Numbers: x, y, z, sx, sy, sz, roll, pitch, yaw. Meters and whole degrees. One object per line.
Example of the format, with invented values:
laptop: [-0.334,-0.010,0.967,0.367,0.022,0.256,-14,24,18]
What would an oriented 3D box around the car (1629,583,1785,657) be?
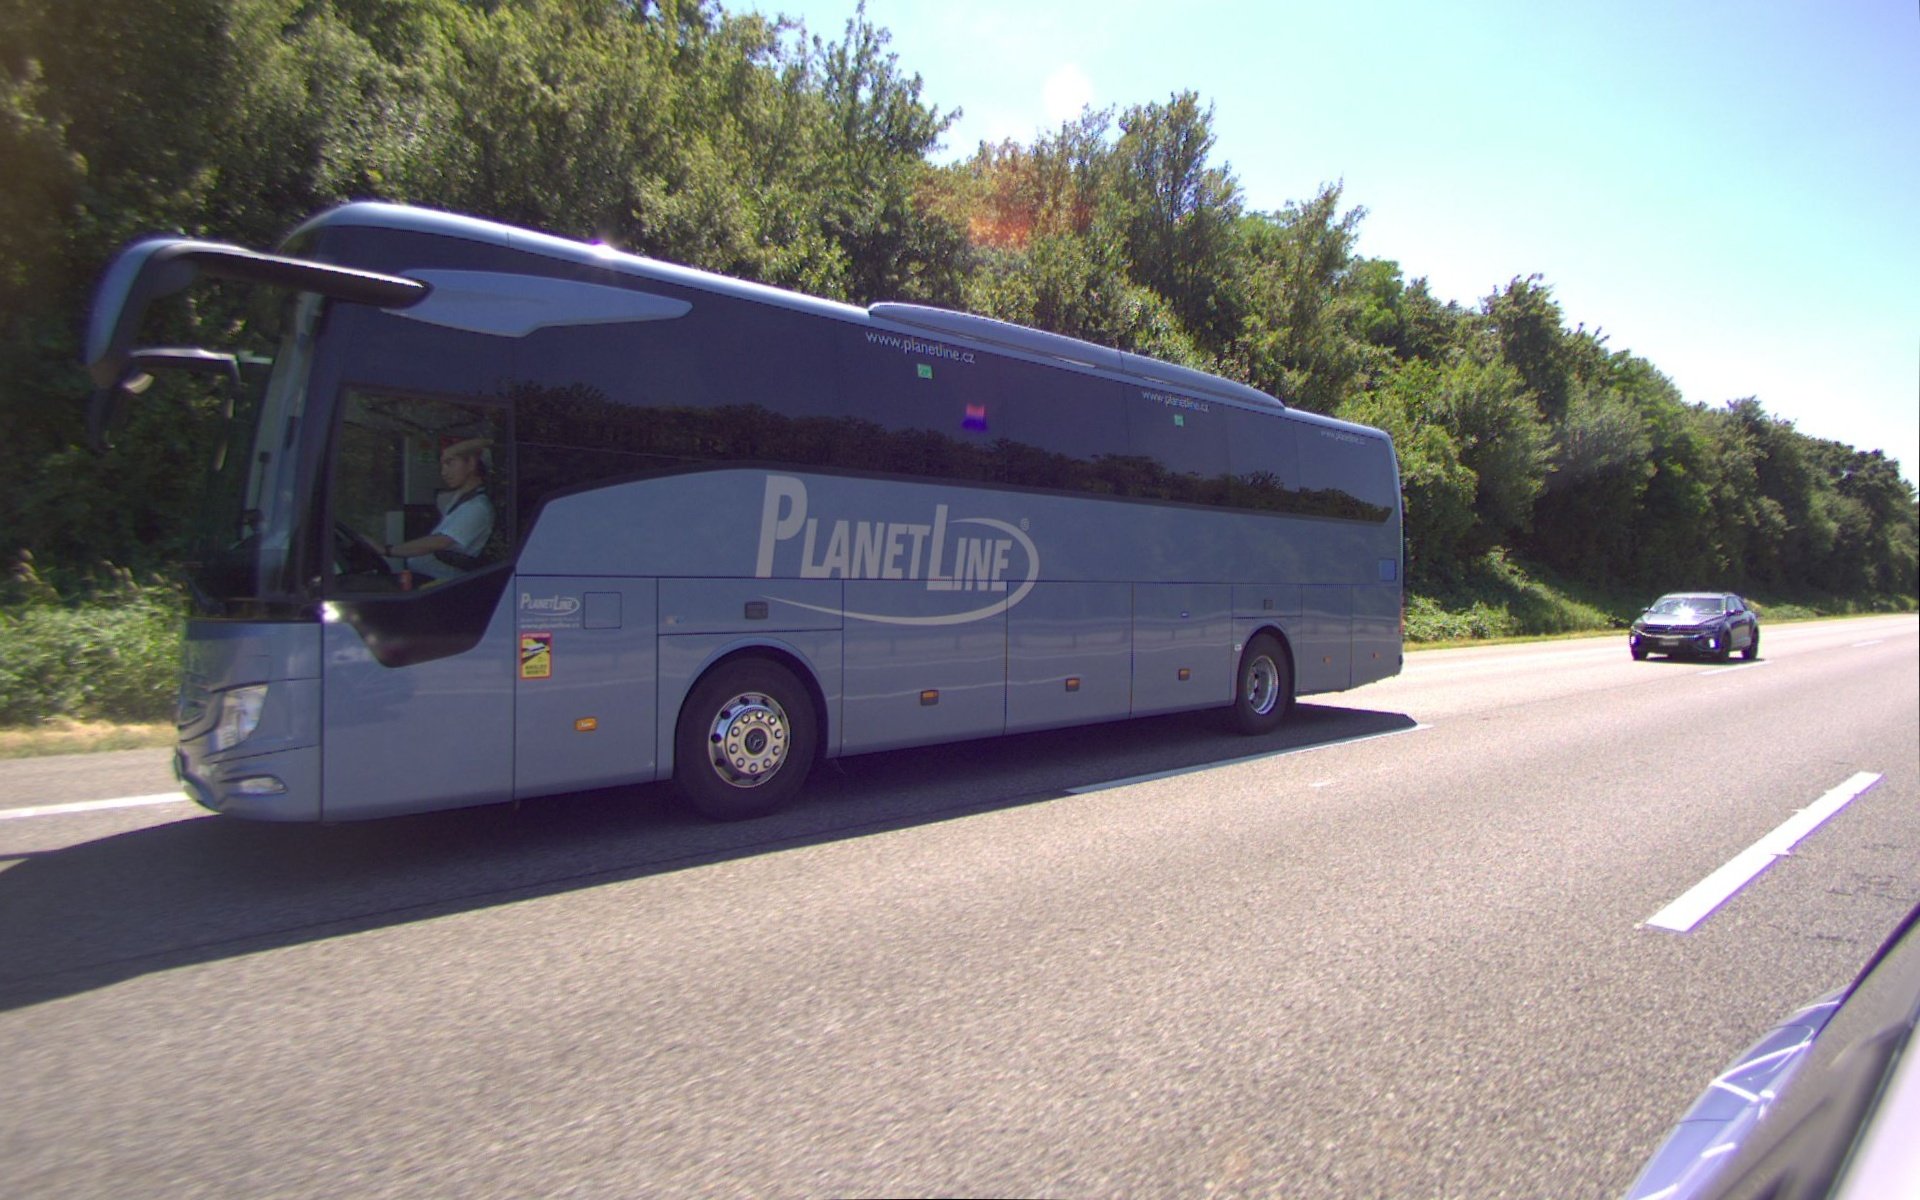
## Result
car: [17.531,0.406,23.664,4.675,1.551,1.903,0,1,-40]

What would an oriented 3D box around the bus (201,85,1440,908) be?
bus: [0.528,-0.517,9.642,12.260,3.641,2.806,0,1,-42]
